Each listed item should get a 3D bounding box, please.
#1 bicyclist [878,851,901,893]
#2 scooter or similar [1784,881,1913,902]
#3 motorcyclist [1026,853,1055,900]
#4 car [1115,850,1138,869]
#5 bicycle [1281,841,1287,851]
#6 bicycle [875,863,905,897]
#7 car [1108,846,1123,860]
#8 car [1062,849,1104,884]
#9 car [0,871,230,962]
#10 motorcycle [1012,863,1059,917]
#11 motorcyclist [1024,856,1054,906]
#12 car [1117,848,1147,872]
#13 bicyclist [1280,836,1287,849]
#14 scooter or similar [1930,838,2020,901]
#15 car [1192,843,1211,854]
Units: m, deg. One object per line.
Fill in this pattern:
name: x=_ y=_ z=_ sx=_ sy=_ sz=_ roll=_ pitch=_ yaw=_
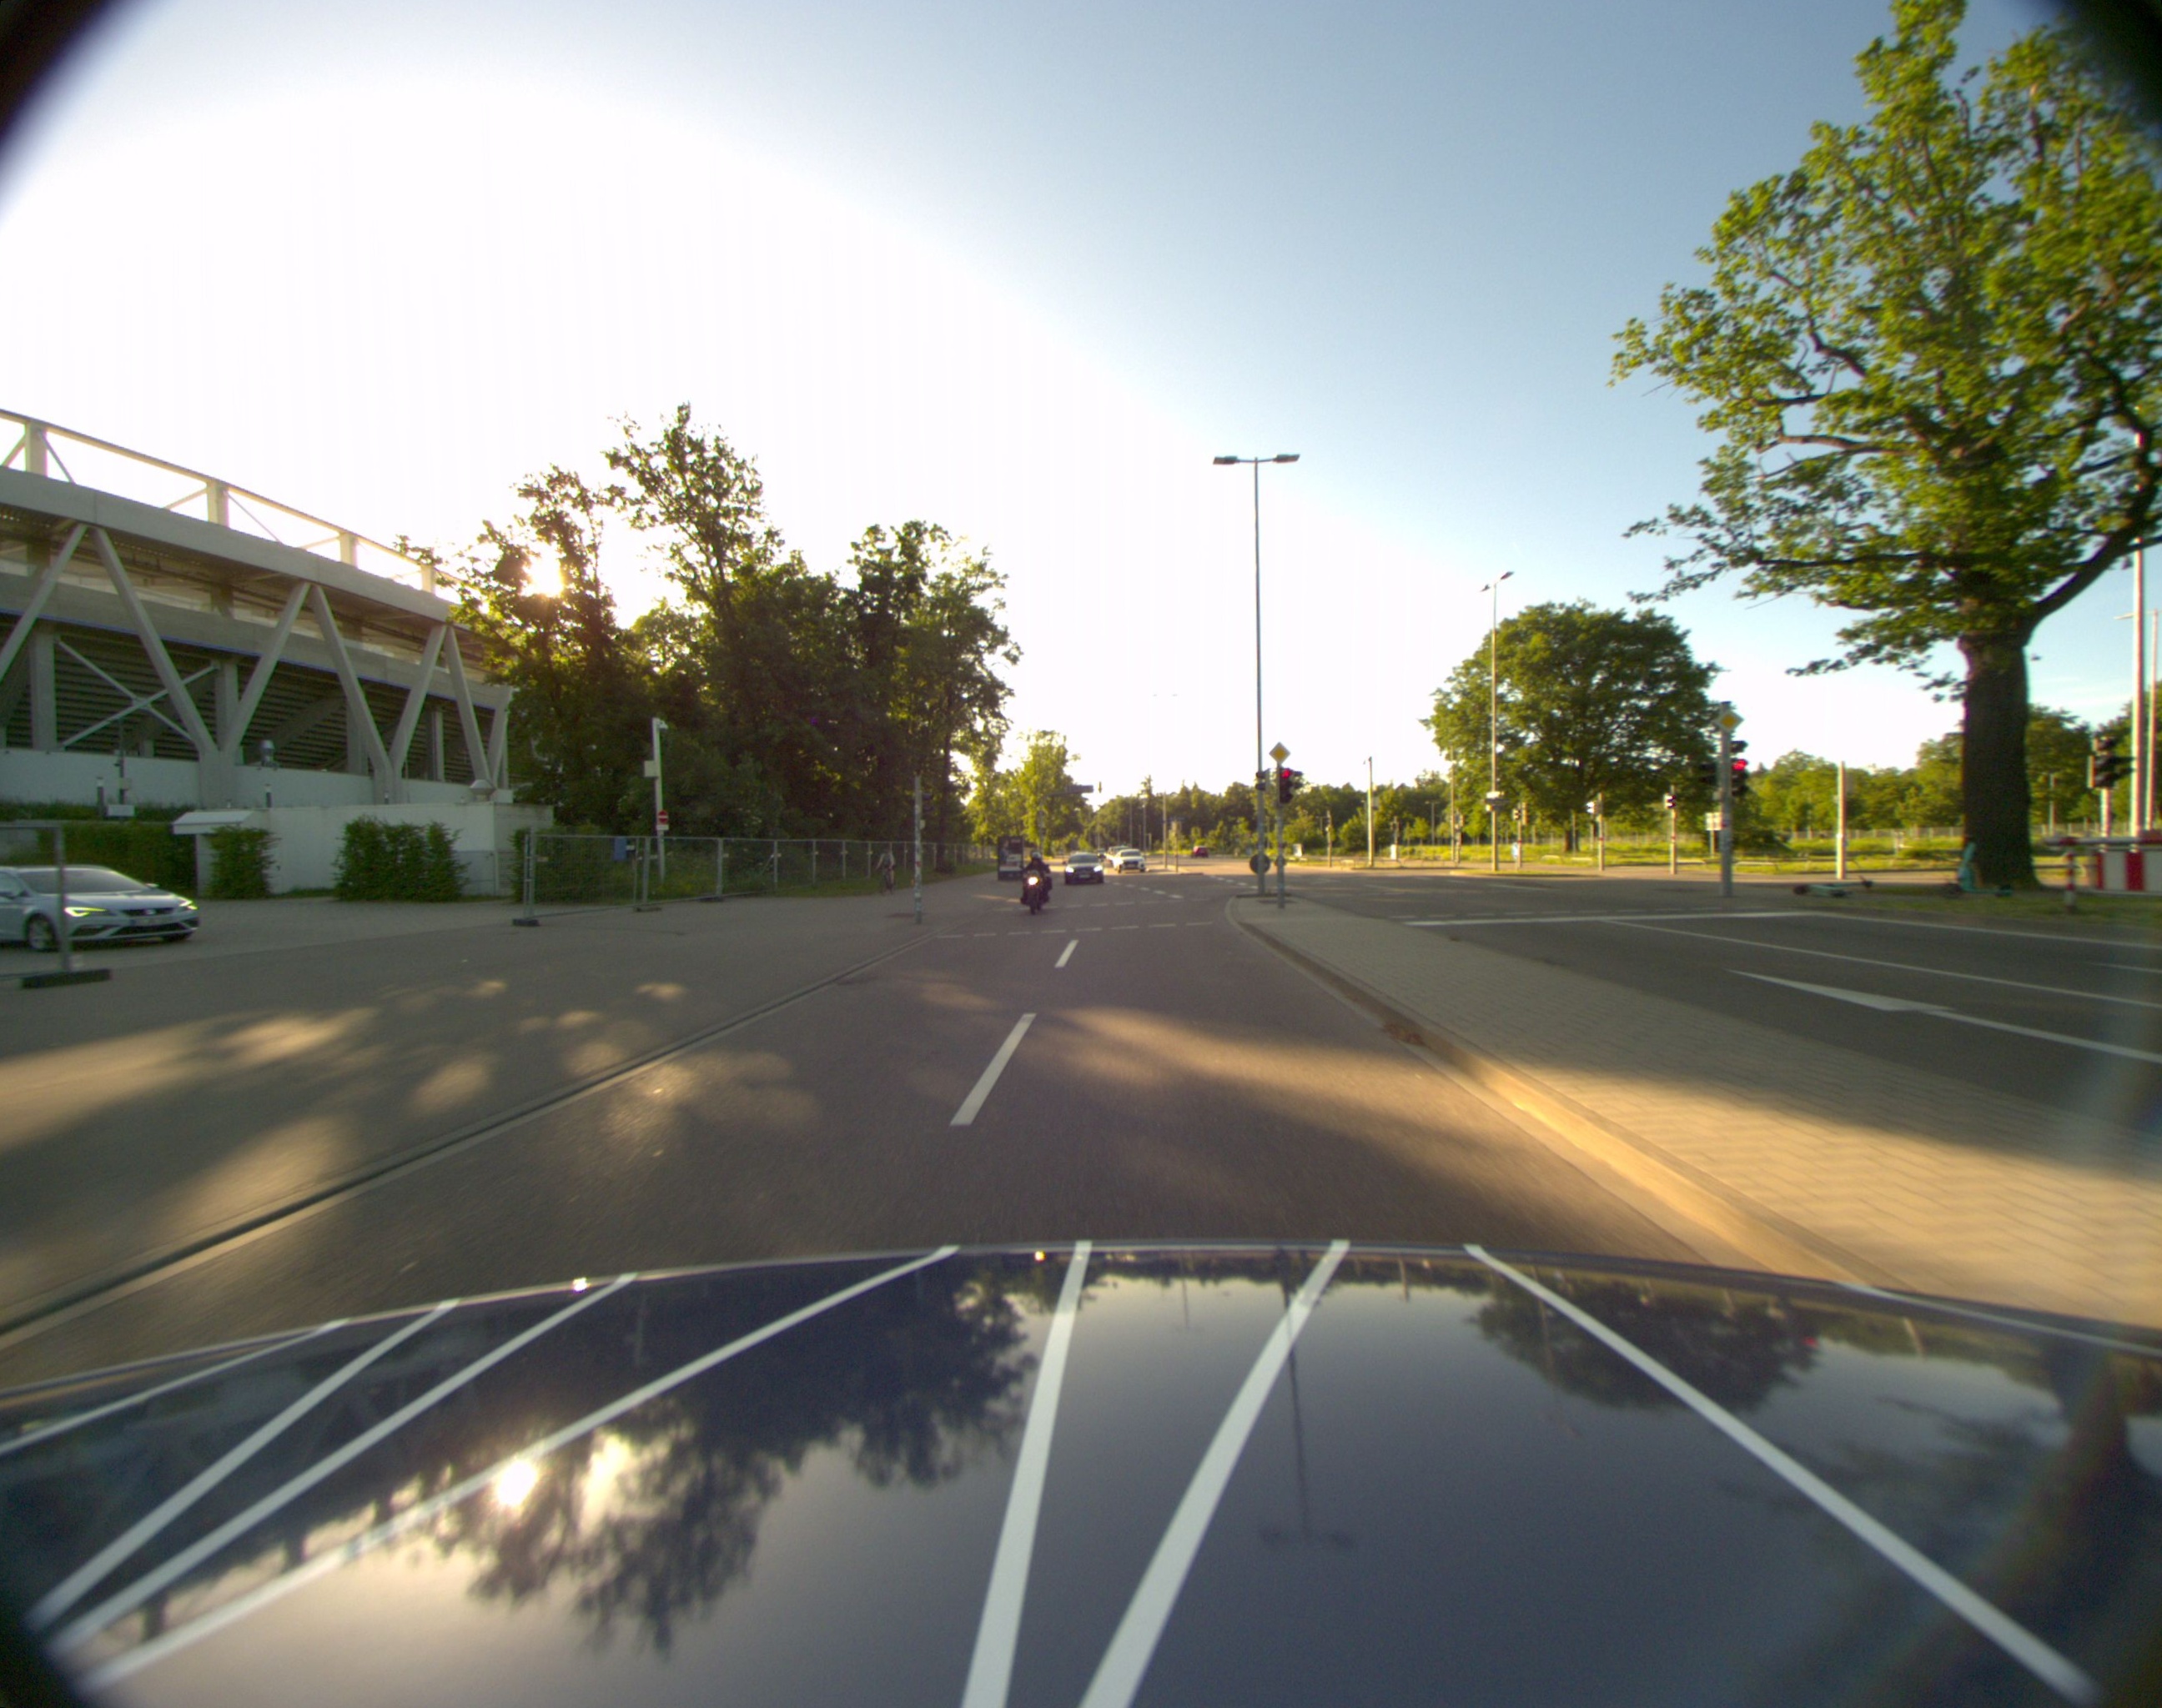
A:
bicyclist: x=-6.897 y=0.649 z=27.405 sx=0.521 sy=1.460 sz=0.861 roll=-2 pitch=1 yaw=2
scooter or similar: x=15.892 y=0.774 z=15.791 sx=1.410 sy=0.337 sz=1.261 roll=-1 pitch=0 yaw=11
motorcyclist: x=-1.134 y=0.622 z=21.297 sx=0.671 sy=1.257 sz=0.826 roll=-3 pitch=1 yaw=1
car: x=3.589 y=0.402 z=60.315 sx=1.661 sy=1.418 sz=4.318 roll=-2 pitch=1 yaw=2
bicycle: x=26.040 y=-1.086 z=97.640 sx=0.494 sy=1.230 sz=1.796 roll=-3 pitch=1 yaw=9
bicycle: x=-6.885 y=0.911 z=27.459 sx=0.555 sy=1.131 sz=1.864 roll=-1 pitch=1 yaw=2
car: x=4.830 y=-0.201 z=107.699 sx=1.867 sy=1.882 sz=5.068 roll=-3 pitch=1 yaw=1
car: x=0.150 y=0.565 z=37.109 sx=1.867 sy=1.538 sz=4.796 roll=-2 pitch=1 yaw=1
car: x=-18.076 y=1.035 z=13.552 sx=4.379 sy=1.370 sz=1.821 roll=0 pitch=1 yaw=11
motorcycle: x=-1.184 y=0.928 z=20.532 sx=0.916 sy=1.243 sz=2.962 roll=-3 pitch=1 yaw=2
motorcyclist: x=-1.131 y=0.710 z=20.426 sx=0.671 sy=1.257 sz=0.826 roll=-3 pitch=1 yaw=2
car: x=3.451 y=0.373 z=52.151 sx=1.838 sy=1.504 sz=4.300 roll=-2 pitch=1 yaw=2
bicyclist: x=26.059 y=-1.456 z=97.637 sx=0.681 sy=1.602 sz=0.800 roll=-3 pitch=1 yaw=9
scooter or similar: x=16.624 y=0.294 z=14.146 sx=1.069 sy=1.140 sz=0.394 roll=-1 pitch=0 yaw=10
car: x=16.938 y=-0.783 z=106.610 sx=1.891 sy=1.544 sz=4.572 roll=-3 pitch=1 yaw=0
